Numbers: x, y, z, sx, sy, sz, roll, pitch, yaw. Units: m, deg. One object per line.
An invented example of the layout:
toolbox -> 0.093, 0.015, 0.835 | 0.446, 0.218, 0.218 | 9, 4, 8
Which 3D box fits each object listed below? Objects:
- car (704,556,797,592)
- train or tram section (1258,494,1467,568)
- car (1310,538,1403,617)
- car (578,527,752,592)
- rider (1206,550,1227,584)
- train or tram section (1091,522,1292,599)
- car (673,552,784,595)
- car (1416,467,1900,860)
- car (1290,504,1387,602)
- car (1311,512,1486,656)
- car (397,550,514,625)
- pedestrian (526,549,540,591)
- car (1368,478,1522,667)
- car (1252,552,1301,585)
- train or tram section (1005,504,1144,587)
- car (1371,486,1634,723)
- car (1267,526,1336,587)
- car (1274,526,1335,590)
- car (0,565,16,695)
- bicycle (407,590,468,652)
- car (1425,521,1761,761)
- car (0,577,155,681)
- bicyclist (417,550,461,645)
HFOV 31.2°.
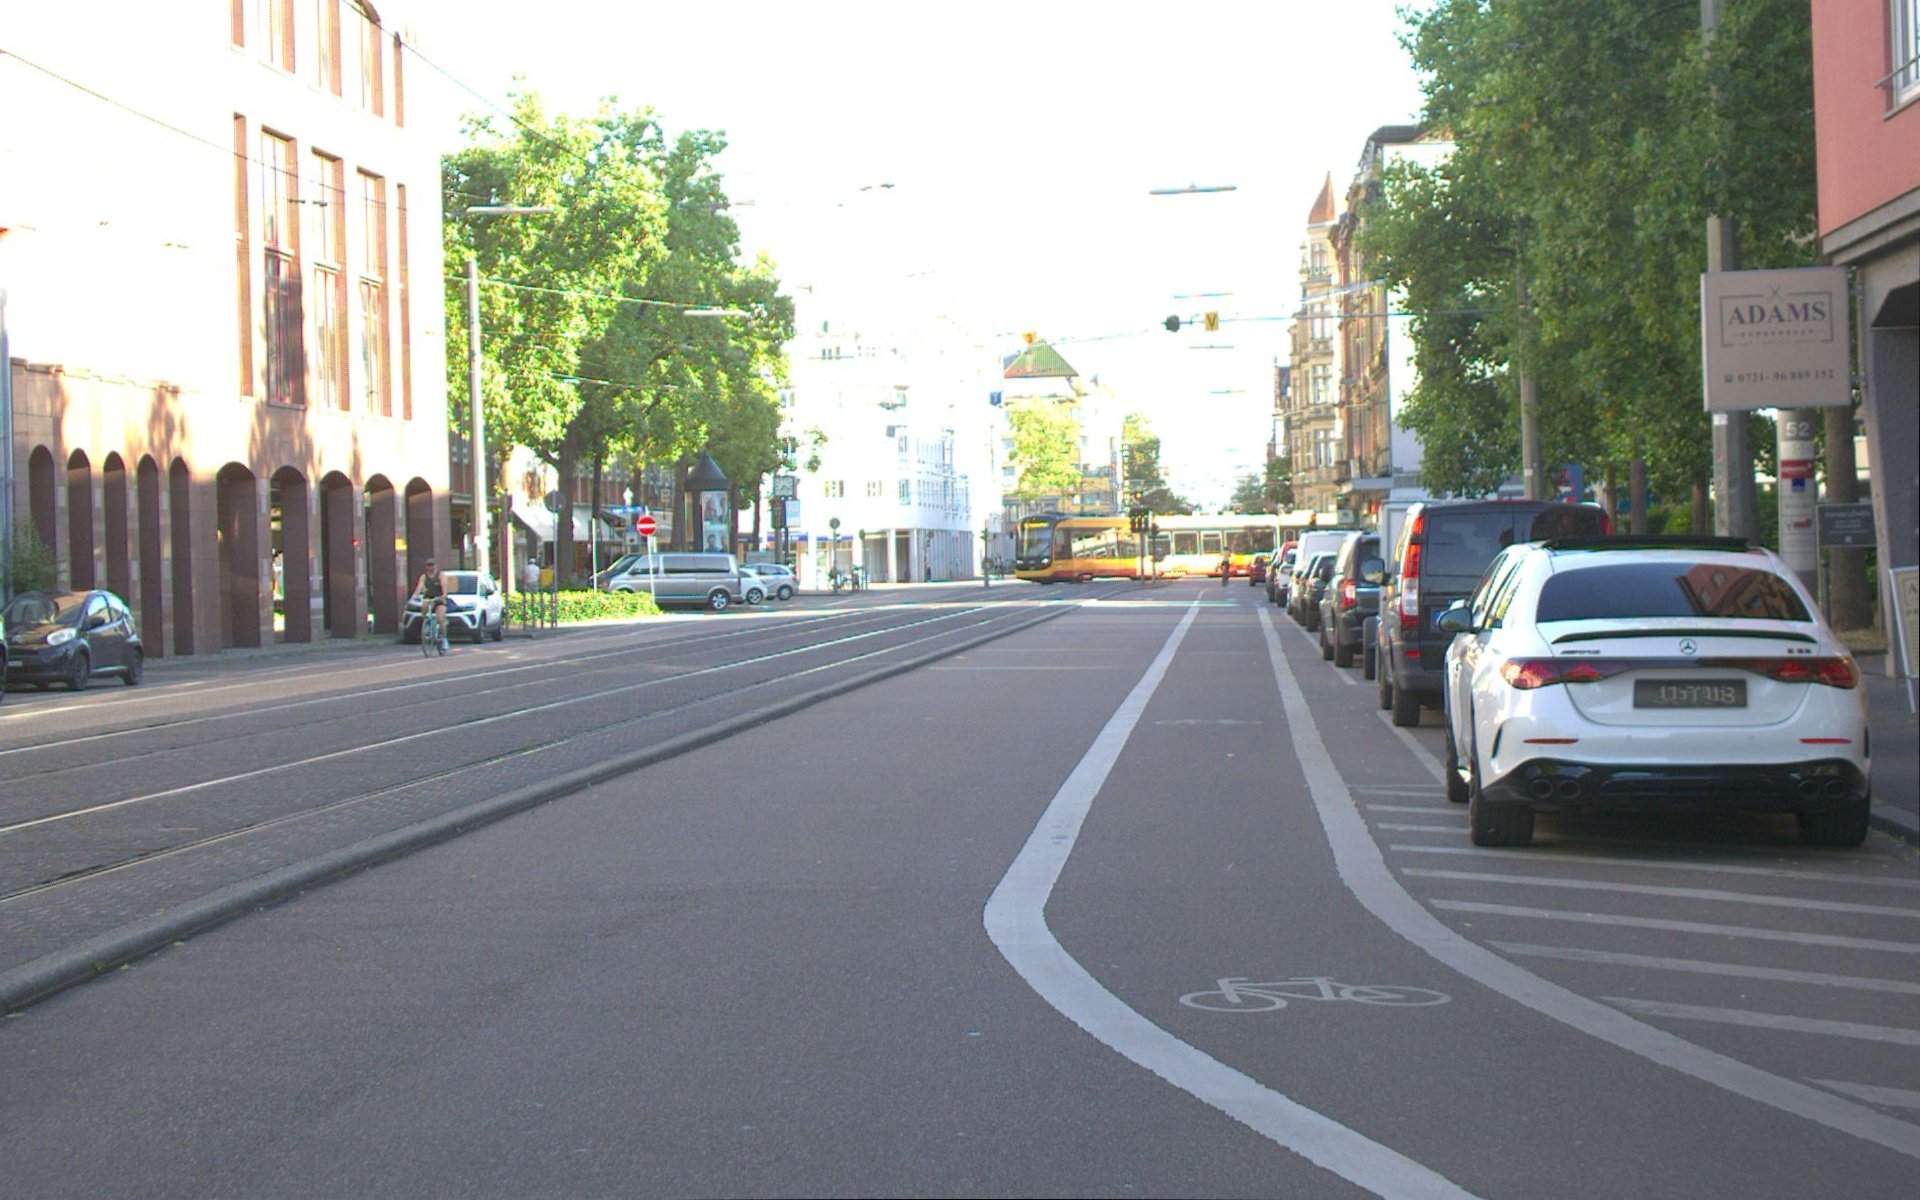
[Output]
car -> -8.801, -1.086, 144.558 | 3.519, 1.476, 1.582 | 0, 1, -27
train or tram section -> 22.125, -3.777, 188.837 | 11.248, 3.739, 2.702 | 1, 1, -20
car -> 7.410, -0.446, 64.496 | 1.621, 1.427, 3.984 | 0, 1, 5
car -> -9.881, -1.323, 115.171 | 5.251, 2.036, 2.419 | 1, -1, -27
rider -> 11.360, -1.474, 152.495 | 0.884, 1.476, 0.713 | 1, 1, 6
train or tram section -> 12.399, -2.057, 182.787 | 12.809, 3.865, 2.699 | 0, 1, -44
car -> -9.058, -1.032, 134.451 | 3.868, 1.622, 1.876 | 0, 1, -26
car -> 3.478, 0.246, 18.006 | 1.967, 1.765, 4.874 | 0, 1, 5
car -> 8.272, -1.029, 75.398 | 1.971, 2.007, 4.557 | -2, 1, 6
car -> 5.782, -0.239, 45.862 | 1.950, 1.782, 5.181 | 1, 1, 3
car -> -11.295, -0.303, 77.190 | 1.869, 1.594, 4.254 | 0, 1, 2
pedestrian -> -13.913, -0.980, 112.041 | 0.362, 1.338, 0.483 | 1, 1, -15
car -> 5.690, -0.319, 40.467 | 1.706, 2.112, 3.705 | 0, 0, 7
car -> 14.126, -1.431, 153.521 | 2.066, 1.384, 4.224 | 1, 1, 4
train or tram section -> 5.864, -2.704, 172.958 | 2.695, 3.946, 12.075 | 2, 1, 23
car -> 4.599, -0.008, 29.776 | 1.956, 1.862, 4.988 | 0, 1, 6
car -> 9.300, -1.199, 93.909 | 1.723, 1.562, 4.082 | -2, 1, 4
car -> 10.018, -1.228, 100.193 | 1.621, 1.807, 4.082 | 1, 1, 4
car -> -13.619, 0.387, 43.253 | 2.091, 1.707, 4.819 | 0, 0, 1
bicycle -> -9.586, 0.376, 63.150 | 0.582, 1.074, 2.185 | -3, 1, 4
car -> 4.238, 0.223, 23.560 | 1.731, 1.491, 3.961 | 0, 1, 3
car -> -13.320, 0.389, 50.265 | 1.870, 1.445, 3.582 | 0, 1, 7
bicyclist -> -9.597, -0.047, 63.350 | 0.571, 1.706, 0.745 | -3, 0, 4
